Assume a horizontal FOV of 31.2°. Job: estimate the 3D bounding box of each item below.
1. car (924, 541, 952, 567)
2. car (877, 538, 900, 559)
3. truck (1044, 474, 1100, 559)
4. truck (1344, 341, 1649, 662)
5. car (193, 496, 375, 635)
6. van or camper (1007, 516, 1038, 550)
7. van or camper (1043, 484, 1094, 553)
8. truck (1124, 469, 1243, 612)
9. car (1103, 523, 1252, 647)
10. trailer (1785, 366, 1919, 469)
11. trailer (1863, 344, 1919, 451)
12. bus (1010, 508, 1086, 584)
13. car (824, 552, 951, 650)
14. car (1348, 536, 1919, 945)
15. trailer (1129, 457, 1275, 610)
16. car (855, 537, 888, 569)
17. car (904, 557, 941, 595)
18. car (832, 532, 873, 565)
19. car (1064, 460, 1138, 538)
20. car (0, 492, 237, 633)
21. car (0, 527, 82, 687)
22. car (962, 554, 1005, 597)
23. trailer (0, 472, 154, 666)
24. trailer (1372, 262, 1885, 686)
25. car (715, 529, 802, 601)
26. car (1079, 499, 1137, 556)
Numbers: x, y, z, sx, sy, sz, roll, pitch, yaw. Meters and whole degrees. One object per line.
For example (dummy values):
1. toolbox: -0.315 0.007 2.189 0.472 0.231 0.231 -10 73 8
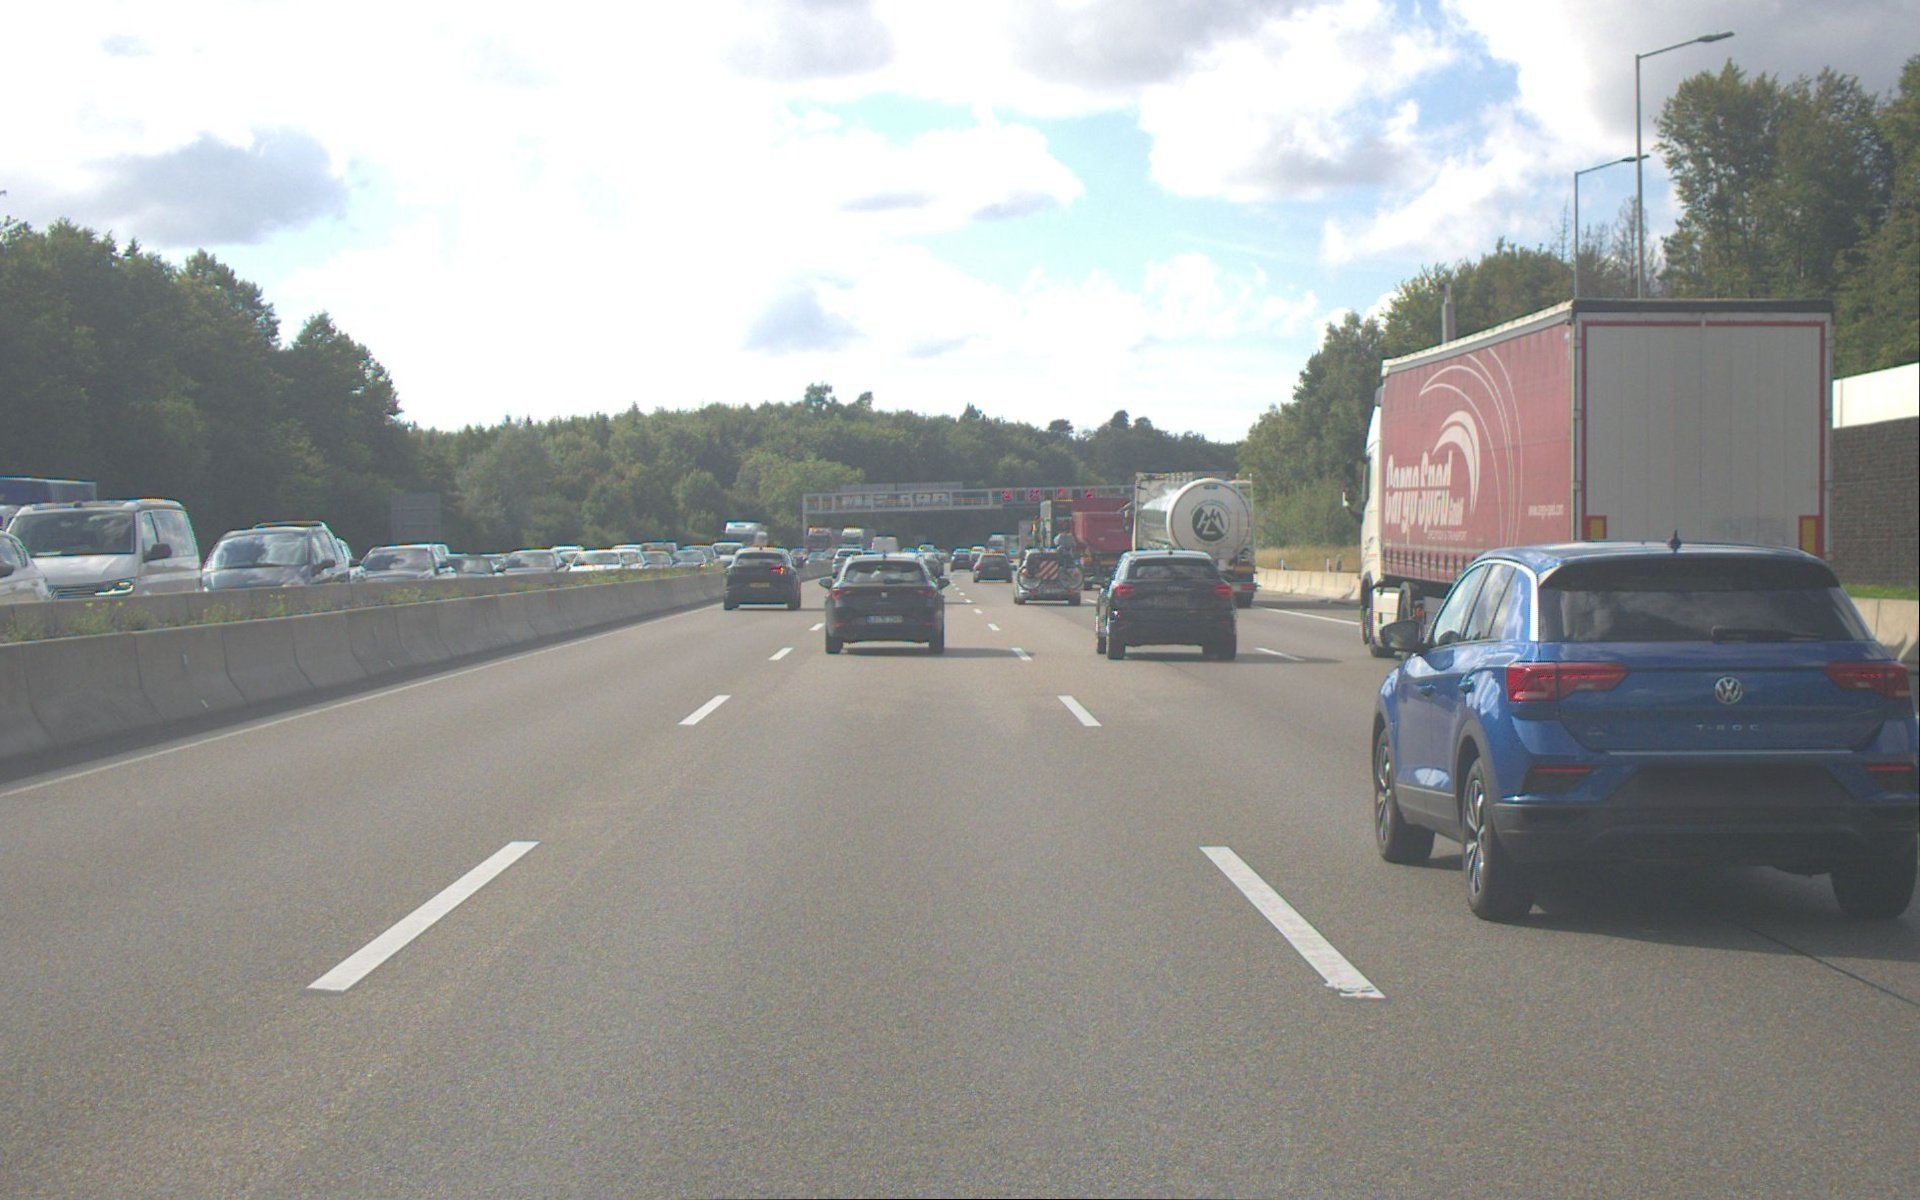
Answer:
1. car: -1.364 -2.892 215.904 1.675 1.587 3.628 -1 1 1
2. car: -5.396 -3.875 258.857 1.623 1.465 3.814 1 0 0
3. truck: 5.261 -3.863 162.460 2.358 3.560 11.265 1 -1 1
4. truck: 7.153 -1.210 46.692 3.080 4.050 6.069 1 -1 -1
5. car: -10.382 -0.483 53.115 1.993 2.007 4.677 1 -1 -2
6. van or camper: 4.536 -4.891 250.708 2.083 2.484 4.225 0 1 -1
7. van or camper: 5.305 -3.990 168.644 2.351 3.133 5.710 1 -1 1
8. truck: 6.656 -1.735 103.456 3.045 4.146 7.127 0 0 -1
9. car: 3.010 -0.196 48.342 1.799 1.639 4.000 1 0 0
10. trailer: 20.021 -3.976 75.666 2.130 2.007 6.235 -1 1 -1
11. trailer: 20.132 -4.107 69.228 2.130 2.007 6.322 -1 1 -1
12. bus: 2.453 -1.497 96.585 1.993 2.007 4.000 1 -1 0
13. car: -1.106 0.012 50.773 1.734 1.360 4.000 1 0 -3
14. car: 2.953 0.508 15.418 1.924 1.536 4.645 1 1 1
15. trailer: 6.703 -1.745 97.246 3.036 4.002 12.245 0 0 -1
16. car: -5.659 -2.974 218.699 1.993 2.007 4.001 1 1 -3
17. car: -2.103 -1.344 193.289 1.993 2.007 4.000 -1 -1 -1
18. car: -5.949 -2.849 191.052 2.154 1.770 4.000 1 0 0
19. car: 5.832 -4.180 142.971 2.866 2.981 5.149 1 -1 1
20. car: -10.497 -0.477 42.294 1.993 1.567 5.329 2 1 1
21. car: -10.254 0.045 34.433 1.765 1.567 4.357 1 1 0
22. car: 1.146 -1.194 167.224 1.993 2.007 4.000 1 0 -1
23. trailer: -14.571 -0.504 53.483 2.278 2.776 8.542 1 1 -2
24. trailer: 7.243 -1.107 39.876 3.038 4.021 13.890 1 -1 -1
25. car: -5.148 -0.918 88.428 1.993 1.770 4.000 -1 1 0
26. car: 5.709 -2.790 132.934 1.993 2.007 4.000 1 -1 -1
